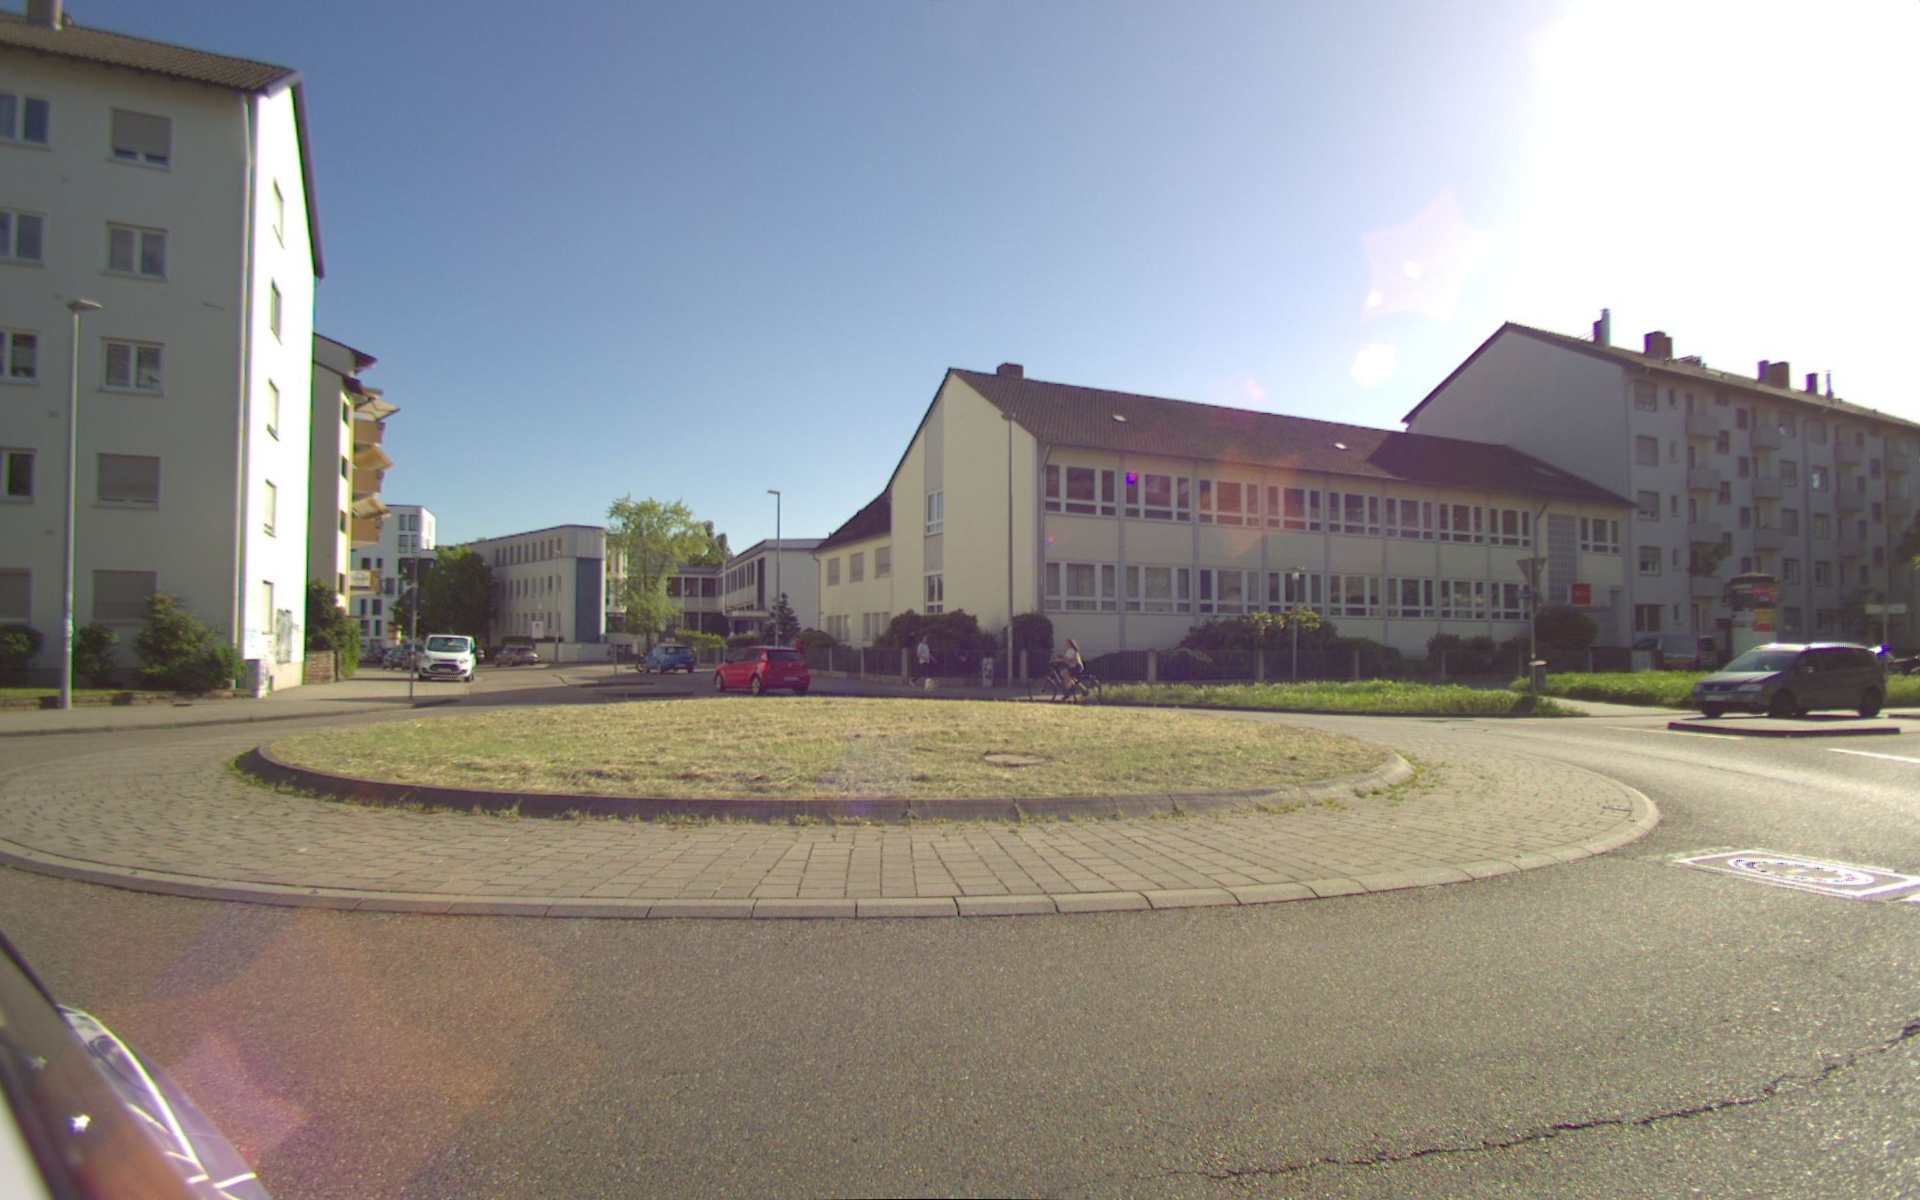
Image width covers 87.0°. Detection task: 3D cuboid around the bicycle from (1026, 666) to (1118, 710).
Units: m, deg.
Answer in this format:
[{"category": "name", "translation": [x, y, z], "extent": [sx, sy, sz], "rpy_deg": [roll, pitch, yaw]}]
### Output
[{"category": "bicycle", "translation": [2.740, 2.148, 24.681], "extent": [2.186, 1.022, 0.808], "rpy_deg": [-1, -3, 10]}]

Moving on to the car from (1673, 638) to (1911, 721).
[{"category": "car", "translation": [18.662, 1.758, 22.770], "extent": [4.202, 1.709, 1.885], "rpy_deg": [0, -4, -13]}]

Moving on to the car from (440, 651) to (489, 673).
[{"category": "car", "translation": [-40.534, 5.046, 82.743], "extent": [4.837, 1.626, 2.108], "rpy_deg": [-3, -3, 44]}]

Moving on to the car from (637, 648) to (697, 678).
[{"category": "car", "translation": [-15.165, 3.259, 52.261], "extent": [1.854, 1.445, 4.427], "rpy_deg": [0, -3, -31]}]

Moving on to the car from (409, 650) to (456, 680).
[{"category": "car", "translation": [-31.220, 3.818, 59.860], "extent": [1.730, 1.655, 4.009], "rpy_deg": [6, -6, -36]}]

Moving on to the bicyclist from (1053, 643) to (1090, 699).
[{"category": "bicyclist", "translation": [2.720, 1.725, 24.694], "extent": [0.816, 1.322, 0.809], "rpy_deg": [-1, -3, 10]}]

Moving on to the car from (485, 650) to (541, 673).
[{"category": "car", "translation": [-33.508, 4.592, 75.764], "extent": [4.835, 1.626, 2.109], "rpy_deg": [-3, -3, 43]}]

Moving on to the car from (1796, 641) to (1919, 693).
[{"category": "car", "translation": [33.437, 2.424, 36.944], "extent": [1.965, 1.785, 4.012], "rpy_deg": [1, -3, -19]}]

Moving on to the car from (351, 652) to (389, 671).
[{"category": "car", "translation": [-59.019, 6.121, 101.139], "extent": [4.837, 1.824, 2.108], "rpy_deg": [-3, -3, 44]}]

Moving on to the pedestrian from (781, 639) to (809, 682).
[{"category": "pedestrian", "translation": [-6.750, 2.475, 41.350], "extent": [0.805, 1.719, 1.000], "rpy_deg": [0, -3, -29]}]

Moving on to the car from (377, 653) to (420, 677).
[{"category": "car", "translation": [-38.333, 4.420, 69.033], "extent": [1.731, 1.465, 4.006], "rpy_deg": [7, -7, -40]}]

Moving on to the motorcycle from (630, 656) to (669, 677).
[{"category": "motorcycle", "translation": [-16.918, 3.625, 55.114], "extent": [1.935, 1.103, 0.591], "rpy_deg": [-1, -3, -2]}]

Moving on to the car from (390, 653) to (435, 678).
[{"category": "car", "translation": [-35.470, 4.225, 65.545], "extent": [1.731, 1.465, 4.007], "rpy_deg": [7, -7, -39]}]

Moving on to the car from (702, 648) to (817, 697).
[{"category": "car", "translation": [-6.148, 2.206, 30.778], "extent": [1.690, 1.393, 4.006], "rpy_deg": [4, -6, -40]}]

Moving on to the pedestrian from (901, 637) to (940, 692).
[{"category": "pedestrian", "translation": [-1.252, 2.042, 32.181], "extent": [0.992, 1.719, 0.686], "rpy_deg": [-2, -3, 27]}]

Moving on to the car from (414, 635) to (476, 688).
[{"category": "car", "translation": [-21.985, 2.640, 43.386], "extent": [1.965, 2.029, 4.812], "rpy_deg": [4, -5, -23]}]

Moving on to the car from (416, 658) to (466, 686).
[{"category": "car", "translation": [-28.800, 3.976, 56.068], "extent": [1.730, 1.405, 4.009], "rpy_deg": [7, -6, -36]}]
